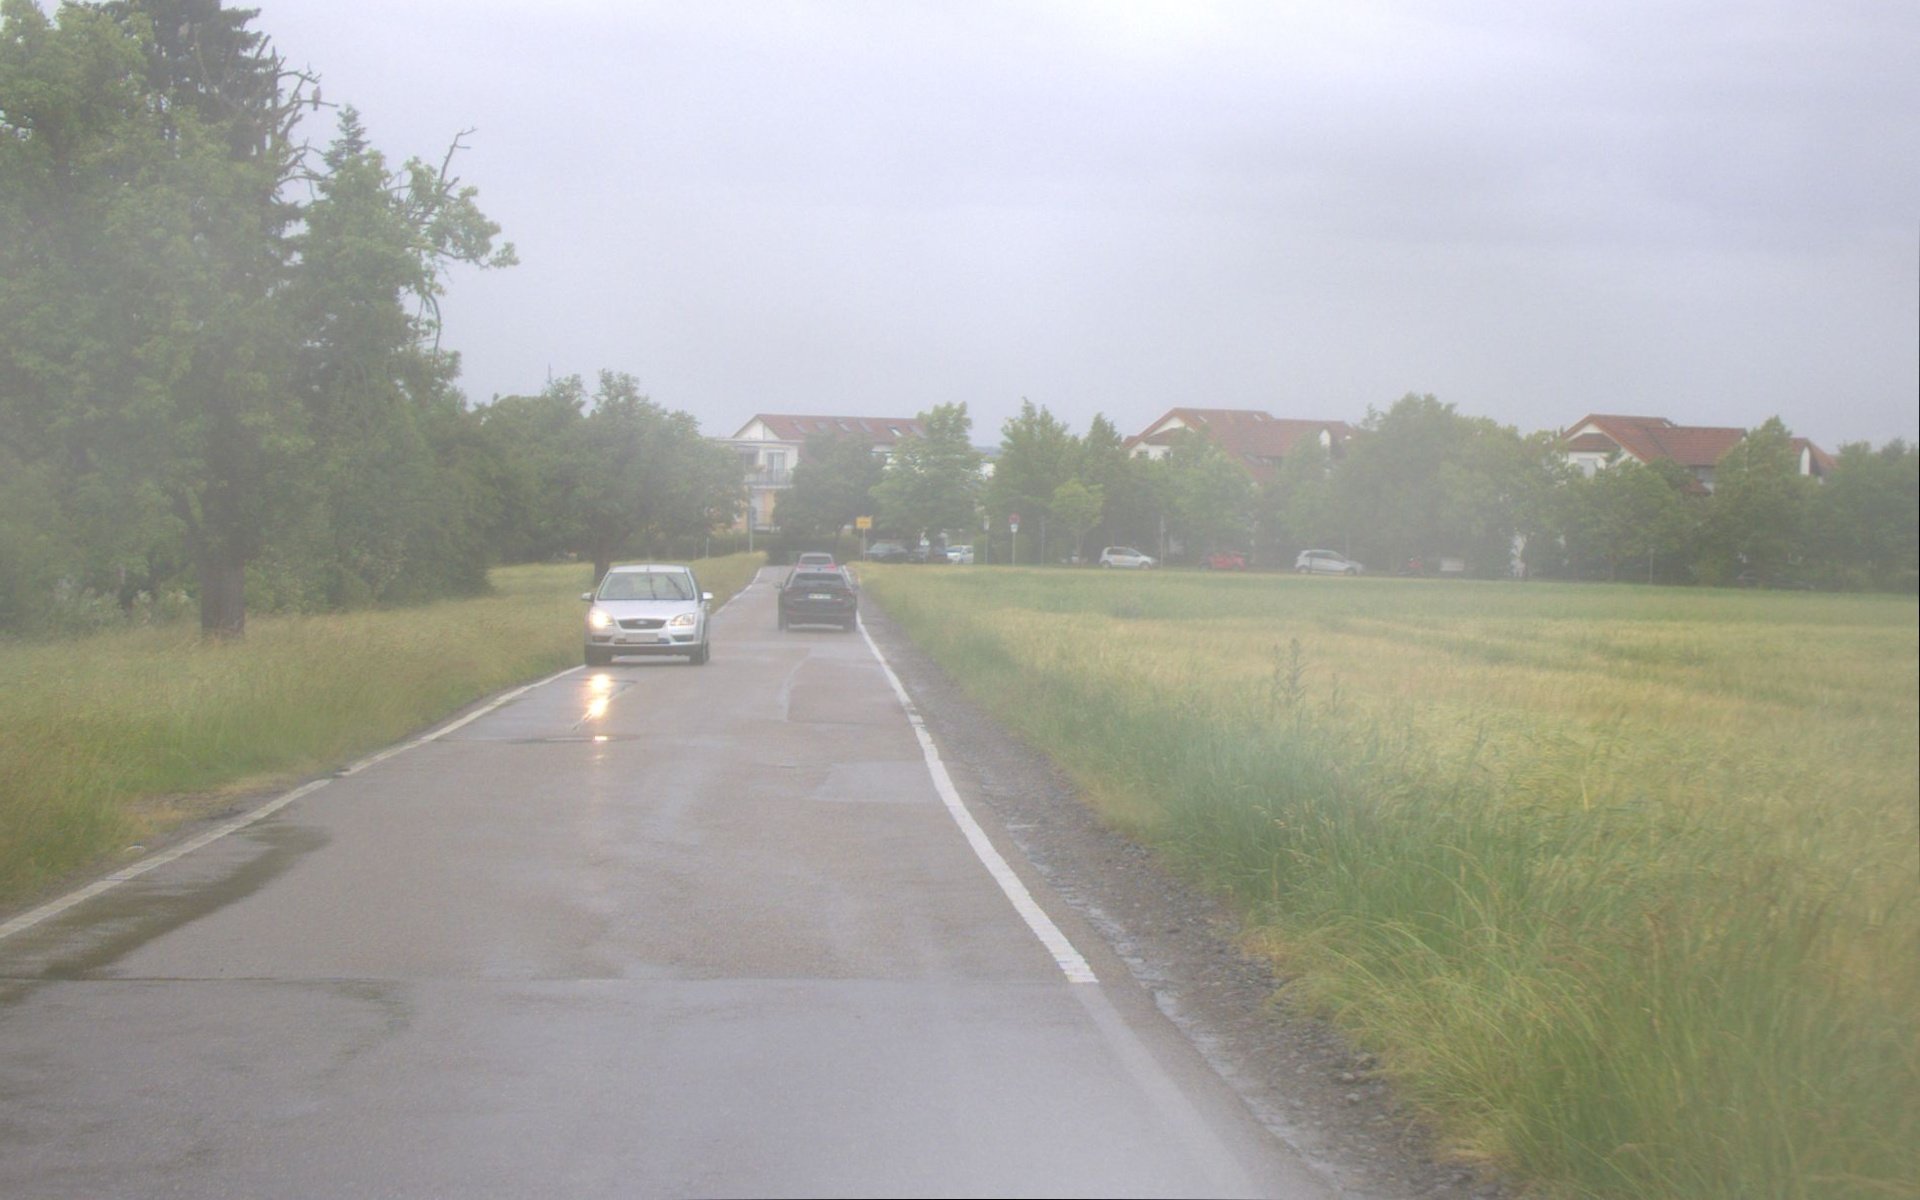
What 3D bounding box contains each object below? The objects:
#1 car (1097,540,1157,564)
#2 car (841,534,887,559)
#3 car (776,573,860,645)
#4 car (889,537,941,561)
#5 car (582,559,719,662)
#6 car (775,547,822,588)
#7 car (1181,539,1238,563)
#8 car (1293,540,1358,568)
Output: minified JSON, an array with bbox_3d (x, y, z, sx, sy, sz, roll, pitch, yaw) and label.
[{"bbox_3d":[10.076,-2.921,207.195,3.391,1.366,1.547,1,-1,11],"label":"car"},{"bbox_3d":[-6.547,-3.649,234.847,1.663,1.541,3.995,1,0,23],"label":"car"},{"bbox_3d":[-3.245,0.209,79.166,1.814,1.588,4.000,1,0,-1],"label":"car"},{"bbox_3d":[-3.142,-3.567,241.315,1.664,1.541,3.992,1,-1,34],"label":"car"},{"bbox_3d":[-4.638,0.174,51.969,1.739,1.466,4.123,1,0,-1],"label":"car"},{"bbox_3d":[-6.693,-1.333,142.641,1.814,1.588,4.000,1,0,-1],"label":"car"},{"bbox_3d":[14.981,-2.937,206.333,3.194,1.366,1.571,1,-1,11],"label":"car"},{"bbox_3d":[21.782,-2.745,204.936,3.711,1.558,1.609,1,-1,11],"label":"car"}]
